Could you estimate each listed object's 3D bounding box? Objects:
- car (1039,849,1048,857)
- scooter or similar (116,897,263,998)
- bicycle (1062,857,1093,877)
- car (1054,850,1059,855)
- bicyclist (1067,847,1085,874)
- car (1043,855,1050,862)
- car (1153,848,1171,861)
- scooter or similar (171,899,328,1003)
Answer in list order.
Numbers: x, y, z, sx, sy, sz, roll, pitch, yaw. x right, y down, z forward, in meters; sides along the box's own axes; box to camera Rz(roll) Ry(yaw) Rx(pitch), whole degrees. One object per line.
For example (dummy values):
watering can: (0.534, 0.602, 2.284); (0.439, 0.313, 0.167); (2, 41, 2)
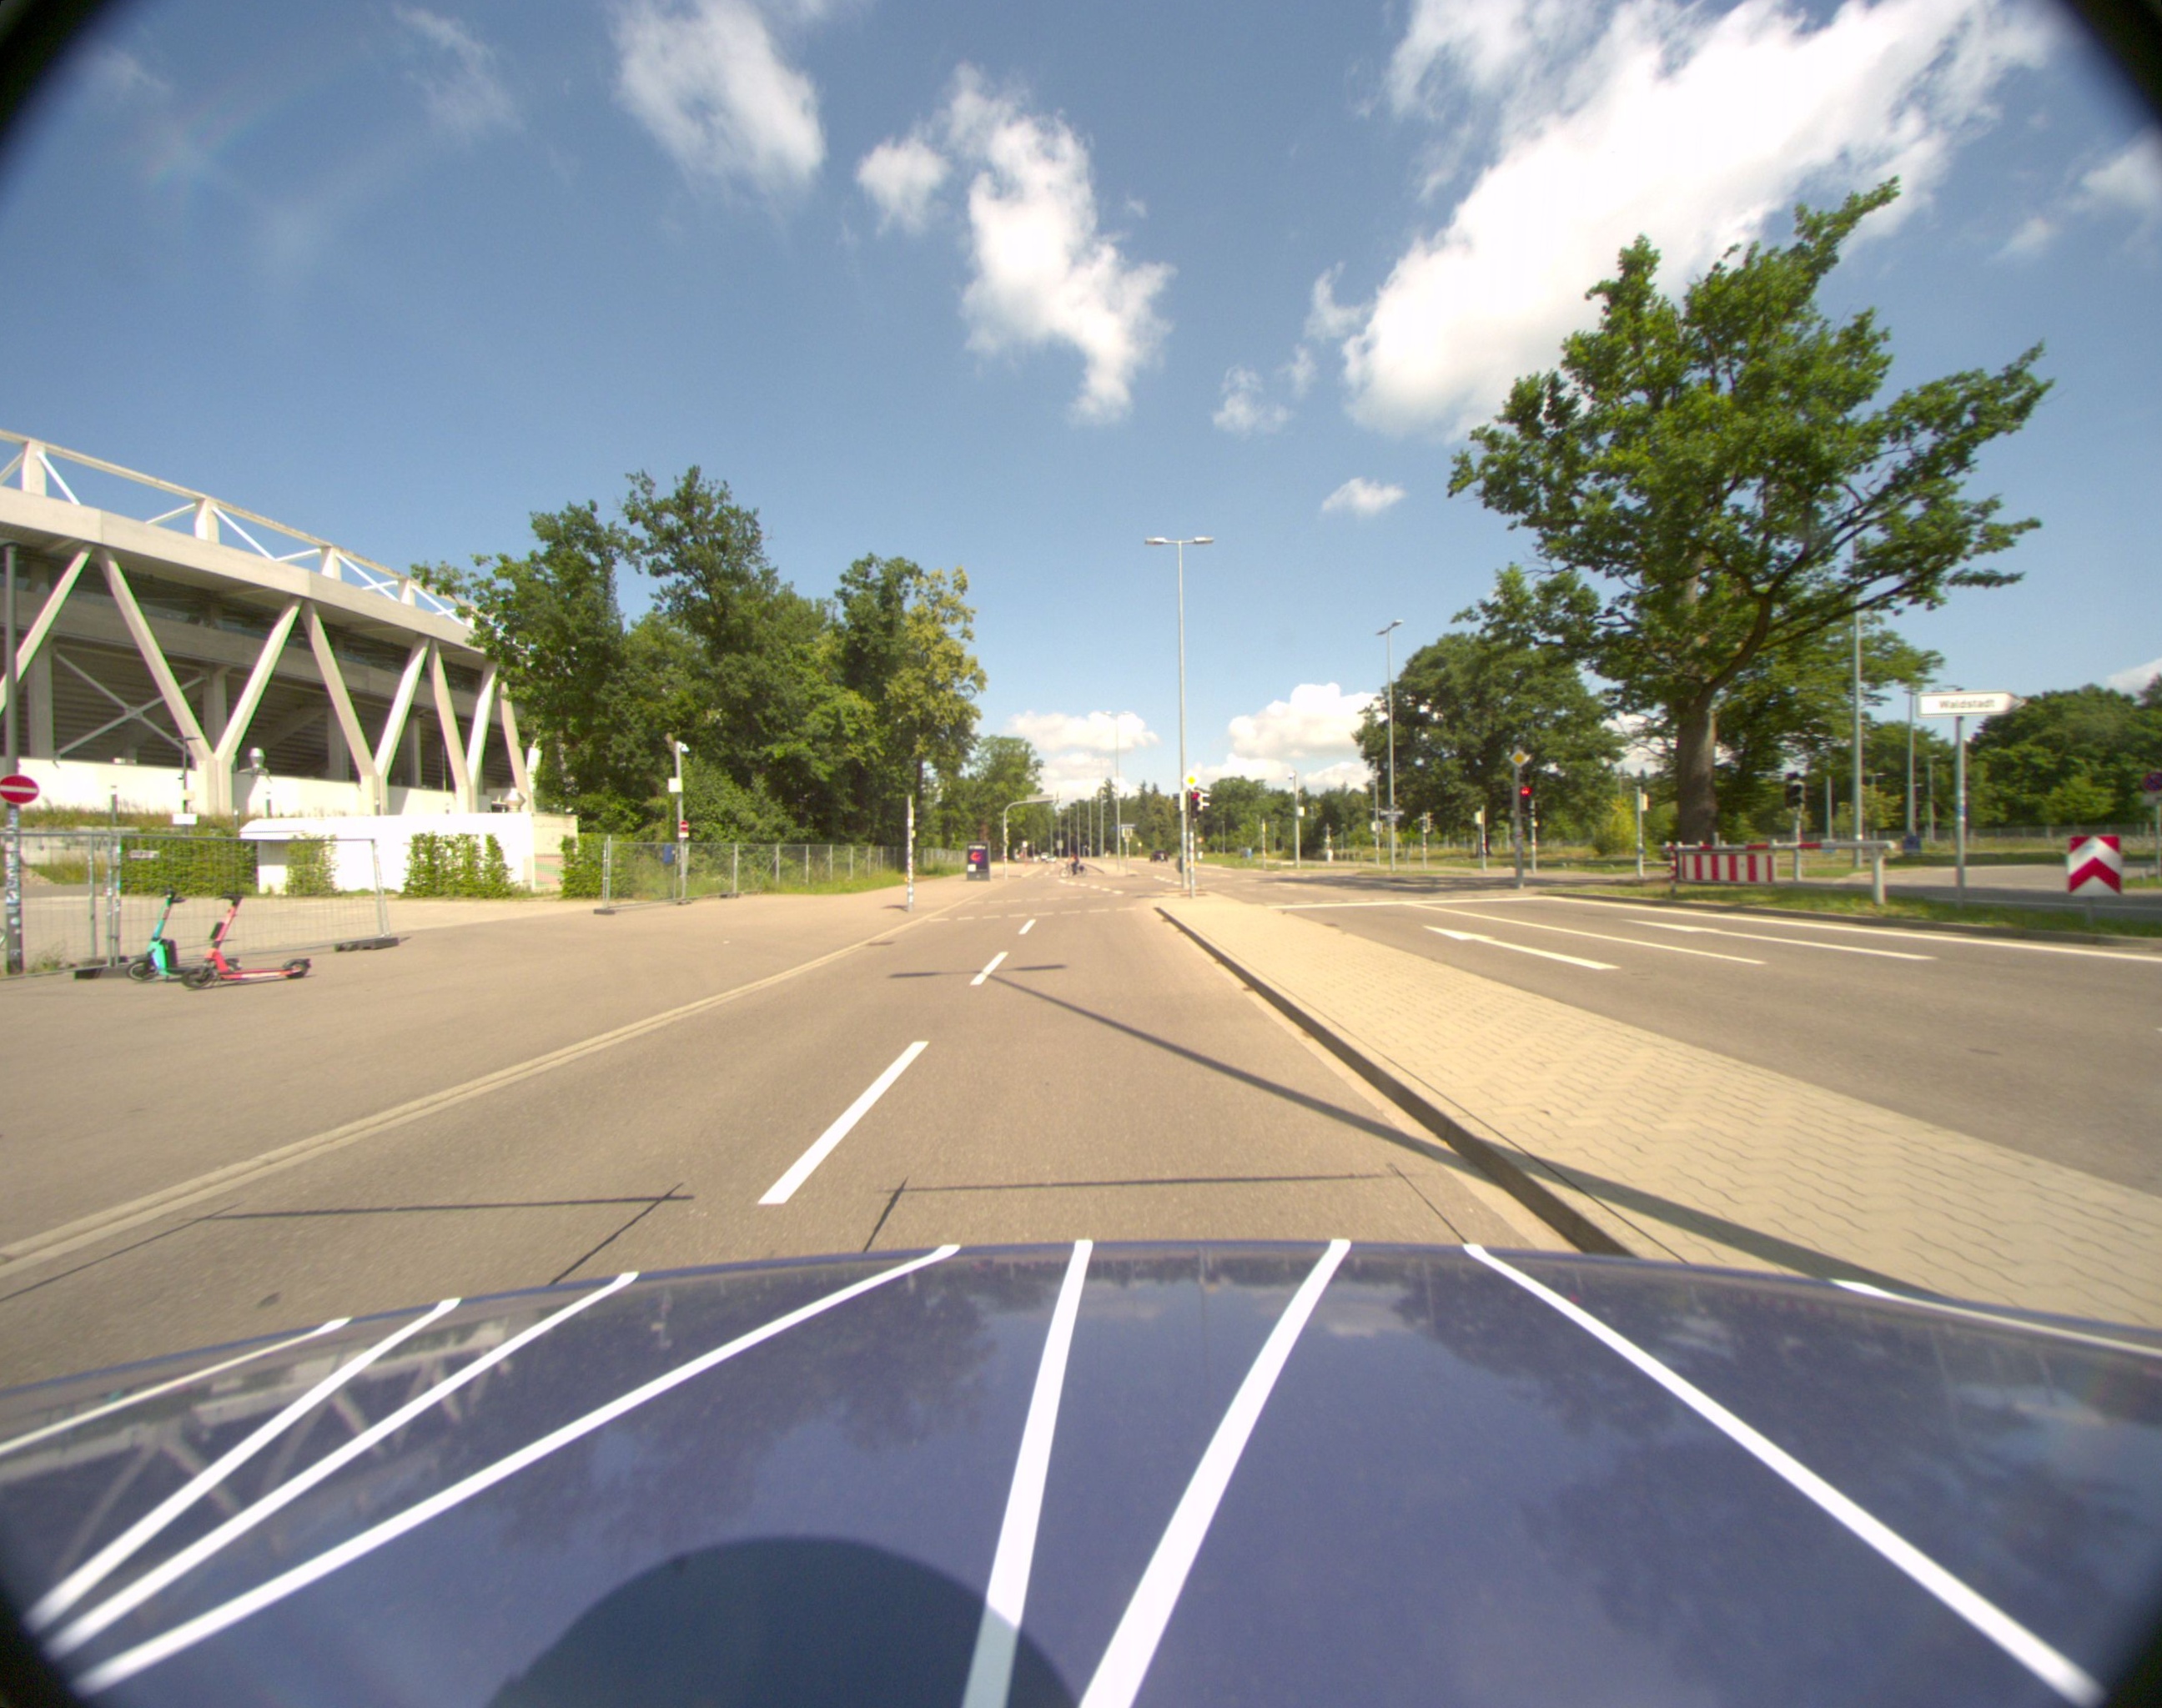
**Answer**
car: (-6.862, -0.222, 139.376); (1.580, 1.471, 3.569); (-2, 1, -2)
scooter or similar: (-11.697, 1.213, 9.993); (1.311, 1.245, 0.407); (-1, 1, -6)
bicycle: (-0.254, 0.863, 50.504); (1.897, 1.199, 0.882); (-2, 1, -9)
car: (-7.625, -0.382, 236.514); (1.580, 1.471, 3.569); (-2, 1, -2)
bicyclist: (-0.347, 0.430, 50.461); (0.979, 1.787, 0.886); (-3, 1, -10)
car: (-8.216, 0.991, 180.444); (1.580, 1.471, 3.569); (-2, 1, -2)
car: (11.227, 0.052, 105.456); (1.980, 1.754, 4.708); (-2, 0, 1)
scooter or similar: (-10.825, 1.226, 9.937); (0.406, 1.193, 1.314); (0, 0, 27)
